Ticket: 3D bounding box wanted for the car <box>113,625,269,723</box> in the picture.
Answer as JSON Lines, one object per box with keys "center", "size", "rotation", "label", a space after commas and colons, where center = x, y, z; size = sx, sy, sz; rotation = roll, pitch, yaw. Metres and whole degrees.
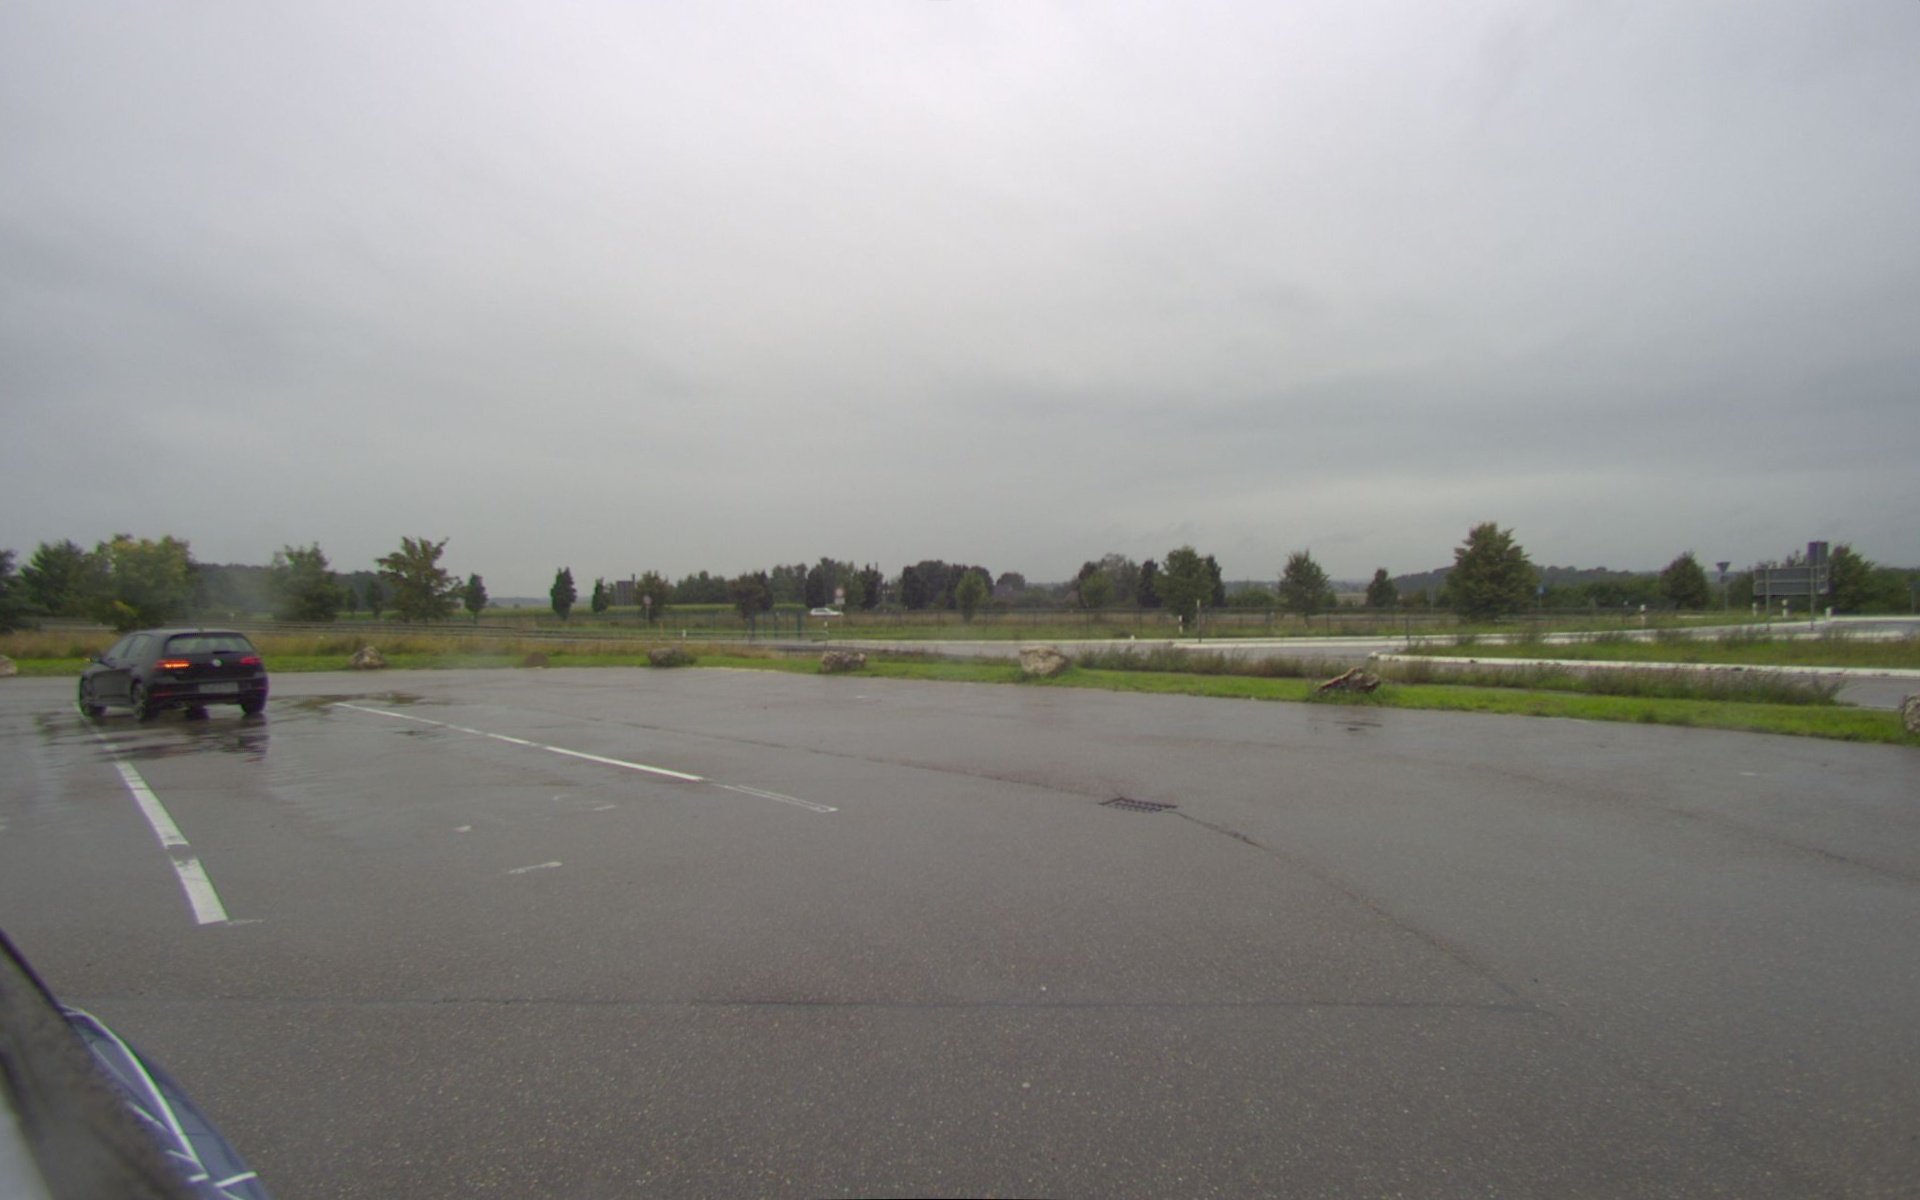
{"center": [-13.324, 1.181, 17.445], "size": [1.753, 1.444, 4.082], "rotation": [0, -1, -43], "label": "car"}
